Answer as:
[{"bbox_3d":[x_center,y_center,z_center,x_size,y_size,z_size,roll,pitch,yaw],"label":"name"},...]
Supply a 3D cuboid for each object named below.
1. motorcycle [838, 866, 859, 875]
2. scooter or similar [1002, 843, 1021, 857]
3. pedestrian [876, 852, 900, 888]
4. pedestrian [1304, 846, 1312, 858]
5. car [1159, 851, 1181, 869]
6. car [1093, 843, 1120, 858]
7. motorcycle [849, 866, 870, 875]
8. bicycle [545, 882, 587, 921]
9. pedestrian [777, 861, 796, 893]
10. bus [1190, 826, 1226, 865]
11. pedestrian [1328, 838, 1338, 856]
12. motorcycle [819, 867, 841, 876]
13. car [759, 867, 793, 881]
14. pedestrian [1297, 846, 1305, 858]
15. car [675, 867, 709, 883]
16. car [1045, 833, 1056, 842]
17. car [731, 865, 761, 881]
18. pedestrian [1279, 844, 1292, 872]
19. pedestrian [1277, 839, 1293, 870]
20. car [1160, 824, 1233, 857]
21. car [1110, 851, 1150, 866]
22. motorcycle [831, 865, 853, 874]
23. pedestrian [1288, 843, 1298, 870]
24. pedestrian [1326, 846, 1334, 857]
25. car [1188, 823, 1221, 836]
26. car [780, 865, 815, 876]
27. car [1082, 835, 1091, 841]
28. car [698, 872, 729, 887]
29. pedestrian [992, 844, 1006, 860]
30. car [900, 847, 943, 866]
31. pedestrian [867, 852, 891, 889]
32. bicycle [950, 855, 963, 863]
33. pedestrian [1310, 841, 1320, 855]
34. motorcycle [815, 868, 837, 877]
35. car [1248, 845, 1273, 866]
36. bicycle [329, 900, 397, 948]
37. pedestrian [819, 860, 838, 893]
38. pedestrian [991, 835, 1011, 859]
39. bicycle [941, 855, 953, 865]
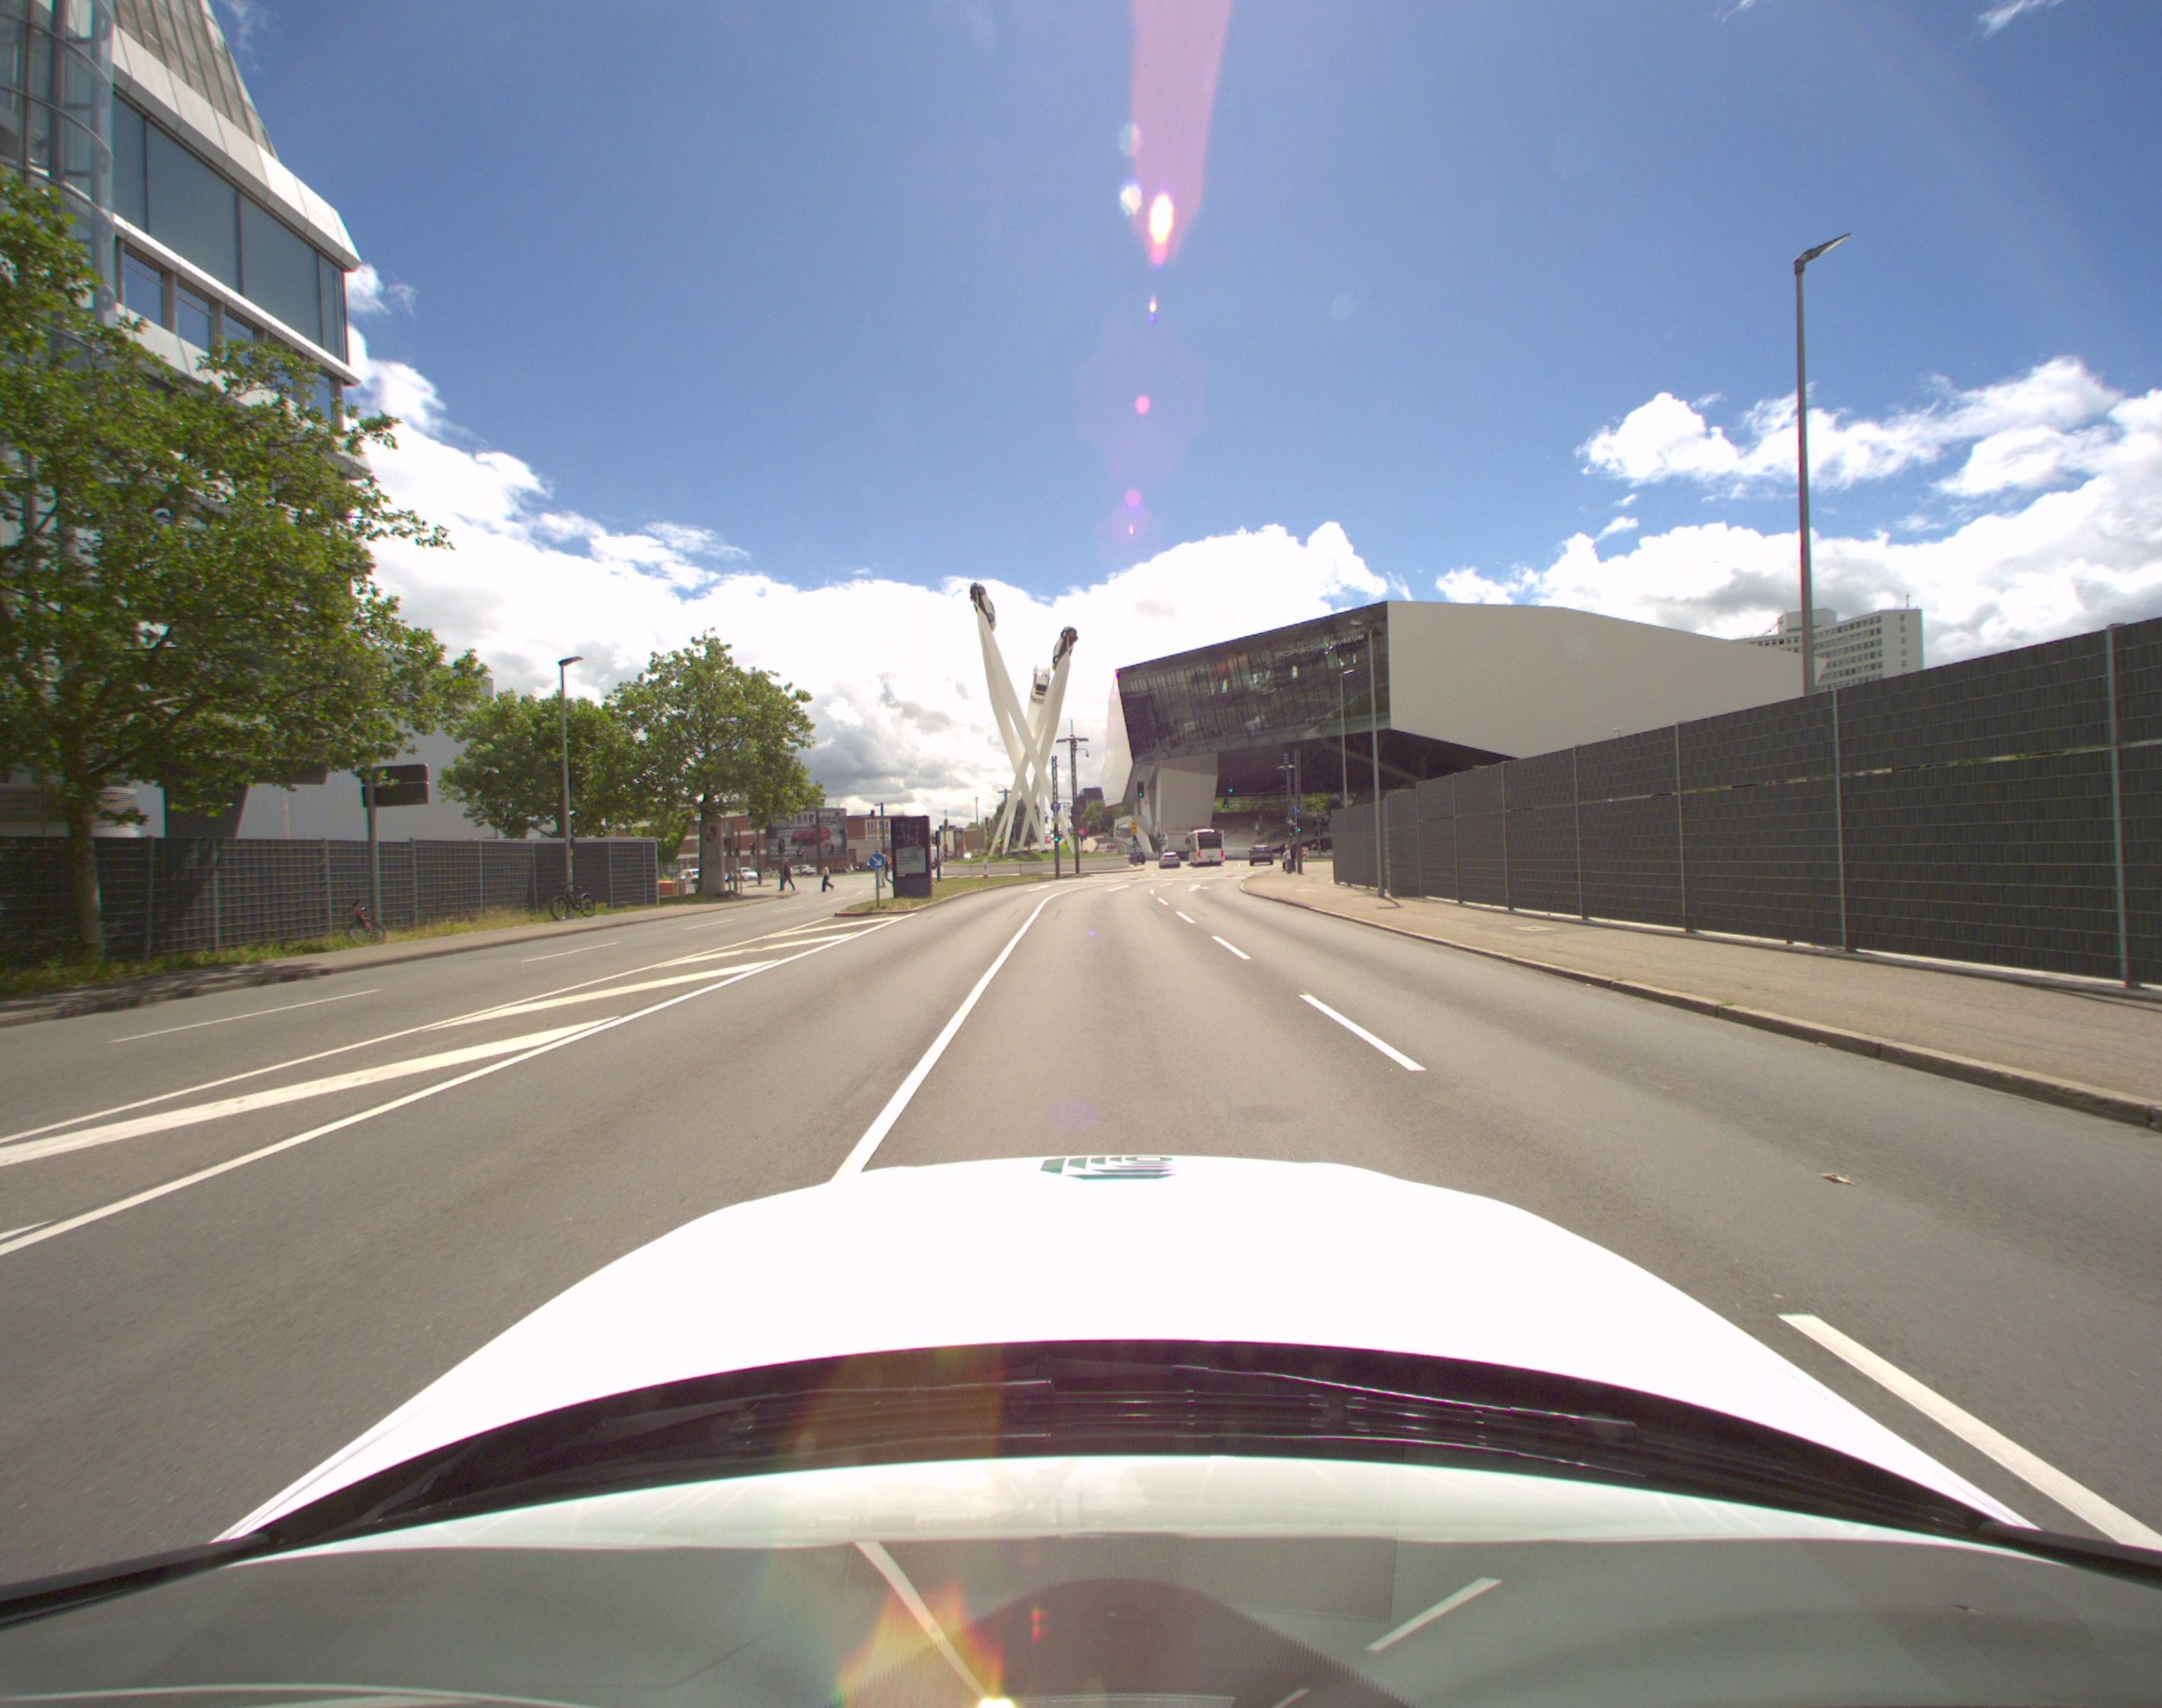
[{"bbox_3d":[-32.663,2.370,114.473,2.880,1.196,0.924,-1,-1,18],"label":"motorcycle"},{"bbox_3d":[-5.620,-0.322,66.181,1.405,1.025,0.546,-6,6,-19],"label":"scooter or similar"},{"bbox_3d":[-10.960,0.916,46.379,0.944,2.055,0.955,-1,-1,18],"label":"pedestrian"},{"bbox_3d":[31.401,-0.308,112.576,0.911,1.573,0.836,-1,-1,33],"label":"pedestrian"},{"bbox_3d":[8.368,0.541,76.717,1.983,1.637,4.007,-1,-1,6],"label":"car"},{"bbox_3d":[3.311,-0.414,106.922,2.004,1.904,3.965,0,-1,-27],"label":"car"},{"bbox_3d":[-31.763,2.360,116.978,2.880,1.196,0.924,-1,-1,18],"label":"motorcycle"},{"bbox_3d":[-15.818,1.452,25.035,0.295,1.131,1.486,-1,-1,3],"label":"bicycle"},{"bbox_3d":[-16.742,1.293,46.276,0.864,1.774,1.030,-1,-1,-14],"label":"pedestrian"},{"bbox_3d":[12.327,-0.708,78.505,3.053,3.362,12.255,-1,-1,10],"label":"bus"},{"bbox_3d":[28.598,-0.843,92.429,0.946,1.984,1.387,-1,2,16],"label":"pedestrian"},{"bbox_3d":[-34.435,2.354,111.654,2.880,1.196,0.924,-1,-1,18],"label":"motorcycle"},{"bbox_3d":[-34.566,2.240,92.194,3.949,1.577,2.012,-1,-1,43],"label":"car"},{"bbox_3d":[30.574,-0.291,113.084,0.820,1.573,0.929,-1,-1,27],"label":"pedestrian"},{"bbox_3d":[-43.176,2.339,90.456,4.237,1.624,2.012,-1,-1,43],"label":"car"},{"bbox_3d":[-7.381,-4.022,196.635,1.985,1.983,4.841,-3,1,3],"label":"car"},{"bbox_3d":[-37.238,2.099,90.424,1.922,1.797,3.730,0,-1,-42],"label":"car"},{"bbox_3d":[11.652,0.224,46.401,0.655,1.608,0.825,-1,-1,11],"label":"pedestrian"},{"bbox_3d":[12.467,0.036,49.761,0.660,1.866,0.789,-1,-1,-14],"label":"pedestrian"},{"bbox_3d":[13.111,-1.452,93.797,3.356,3.504,9.251,0,-1,-30],"label":"car"},{"bbox_3d":[5.375,0.499,89.316,3.949,1.637,2.012,-1,-1,28],"label":"car"},{"bbox_3d":[-33.250,2.189,113.410,2.880,1.196,0.924,-1,-1,18],"label":"motorcycle"},{"bbox_3d":[12.808,0.136,49.221,0.462,1.616,0.663,-1,-1,2],"label":"pedestrian"},{"bbox_3d":[34.410,-0.324,112.572,0.828,1.573,0.920,-1,-1,-9],"label":"pedestrian"},{"bbox_3d":[18.301,-3.634,120.834,2.012,1.394,4.459,-7,10,-43],"label":"car"},{"bbox_3d":[-37.503,2.185,107.796,3.953,1.500,2.010,-1,-1,20],"label":"car"},{"bbox_3d":[1.365,-4.047,204.352,1.986,1.635,4.658,-1,1,2],"label":"car"},{"bbox_3d":[-39.164,2.672,86.729,1.813,1.556,3.909,0,-1,-44],"label":"car"},{"bbox_3d":[-7.849,-0.224,78.149,0.845,1.407,0.970,-8,-4,22],"label":"pedestrian"},{"bbox_3d":[-19.219,0.303,98.115,4.617,2.171,2.003,-1,-1,5],"label":"car"},{"bbox_3d":[-11.273,0.910,45.435,0.944,2.055,0.955,-1,-1,18],"label":"pedestrian"},{"bbox_3d":[-19.158,0.729,125.324,1.732,1.182,0.669,-1,1,-2],"label":"bicycle"},{"bbox_3d":[25.905,-0.637,90.121,0.585,1.496,0.764,0,-1,-33],"label":"pedestrian"},{"bbox_3d":[-34.600,2.522,110.393,2.880,1.196,0.924,-1,-1,18],"label":"motorcycle"},{"bbox_3d":[14.671,0.091,66.550,1.980,1.636,4.014,-1,1,13],"label":"car"},{"bbox_3d":[-16.375,1.585,18.595,0.294,1.006,1.255,-1,-1,10],"label":"bicycle"},{"bbox_3d":[-13.736,1.228,44.311,0.864,1.774,1.030,-1,-1,-14],"label":"pedestrian"},{"bbox_3d":[-6.464,-0.598,65.807,1.285,1.816,0.981,-6,4,-17],"label":"pedestrian"},{"bbox_3d":[-19.394,0.882,117.766,1.601,1.382,0.492,-1,-1,-1],"label":"bicycle"}]
